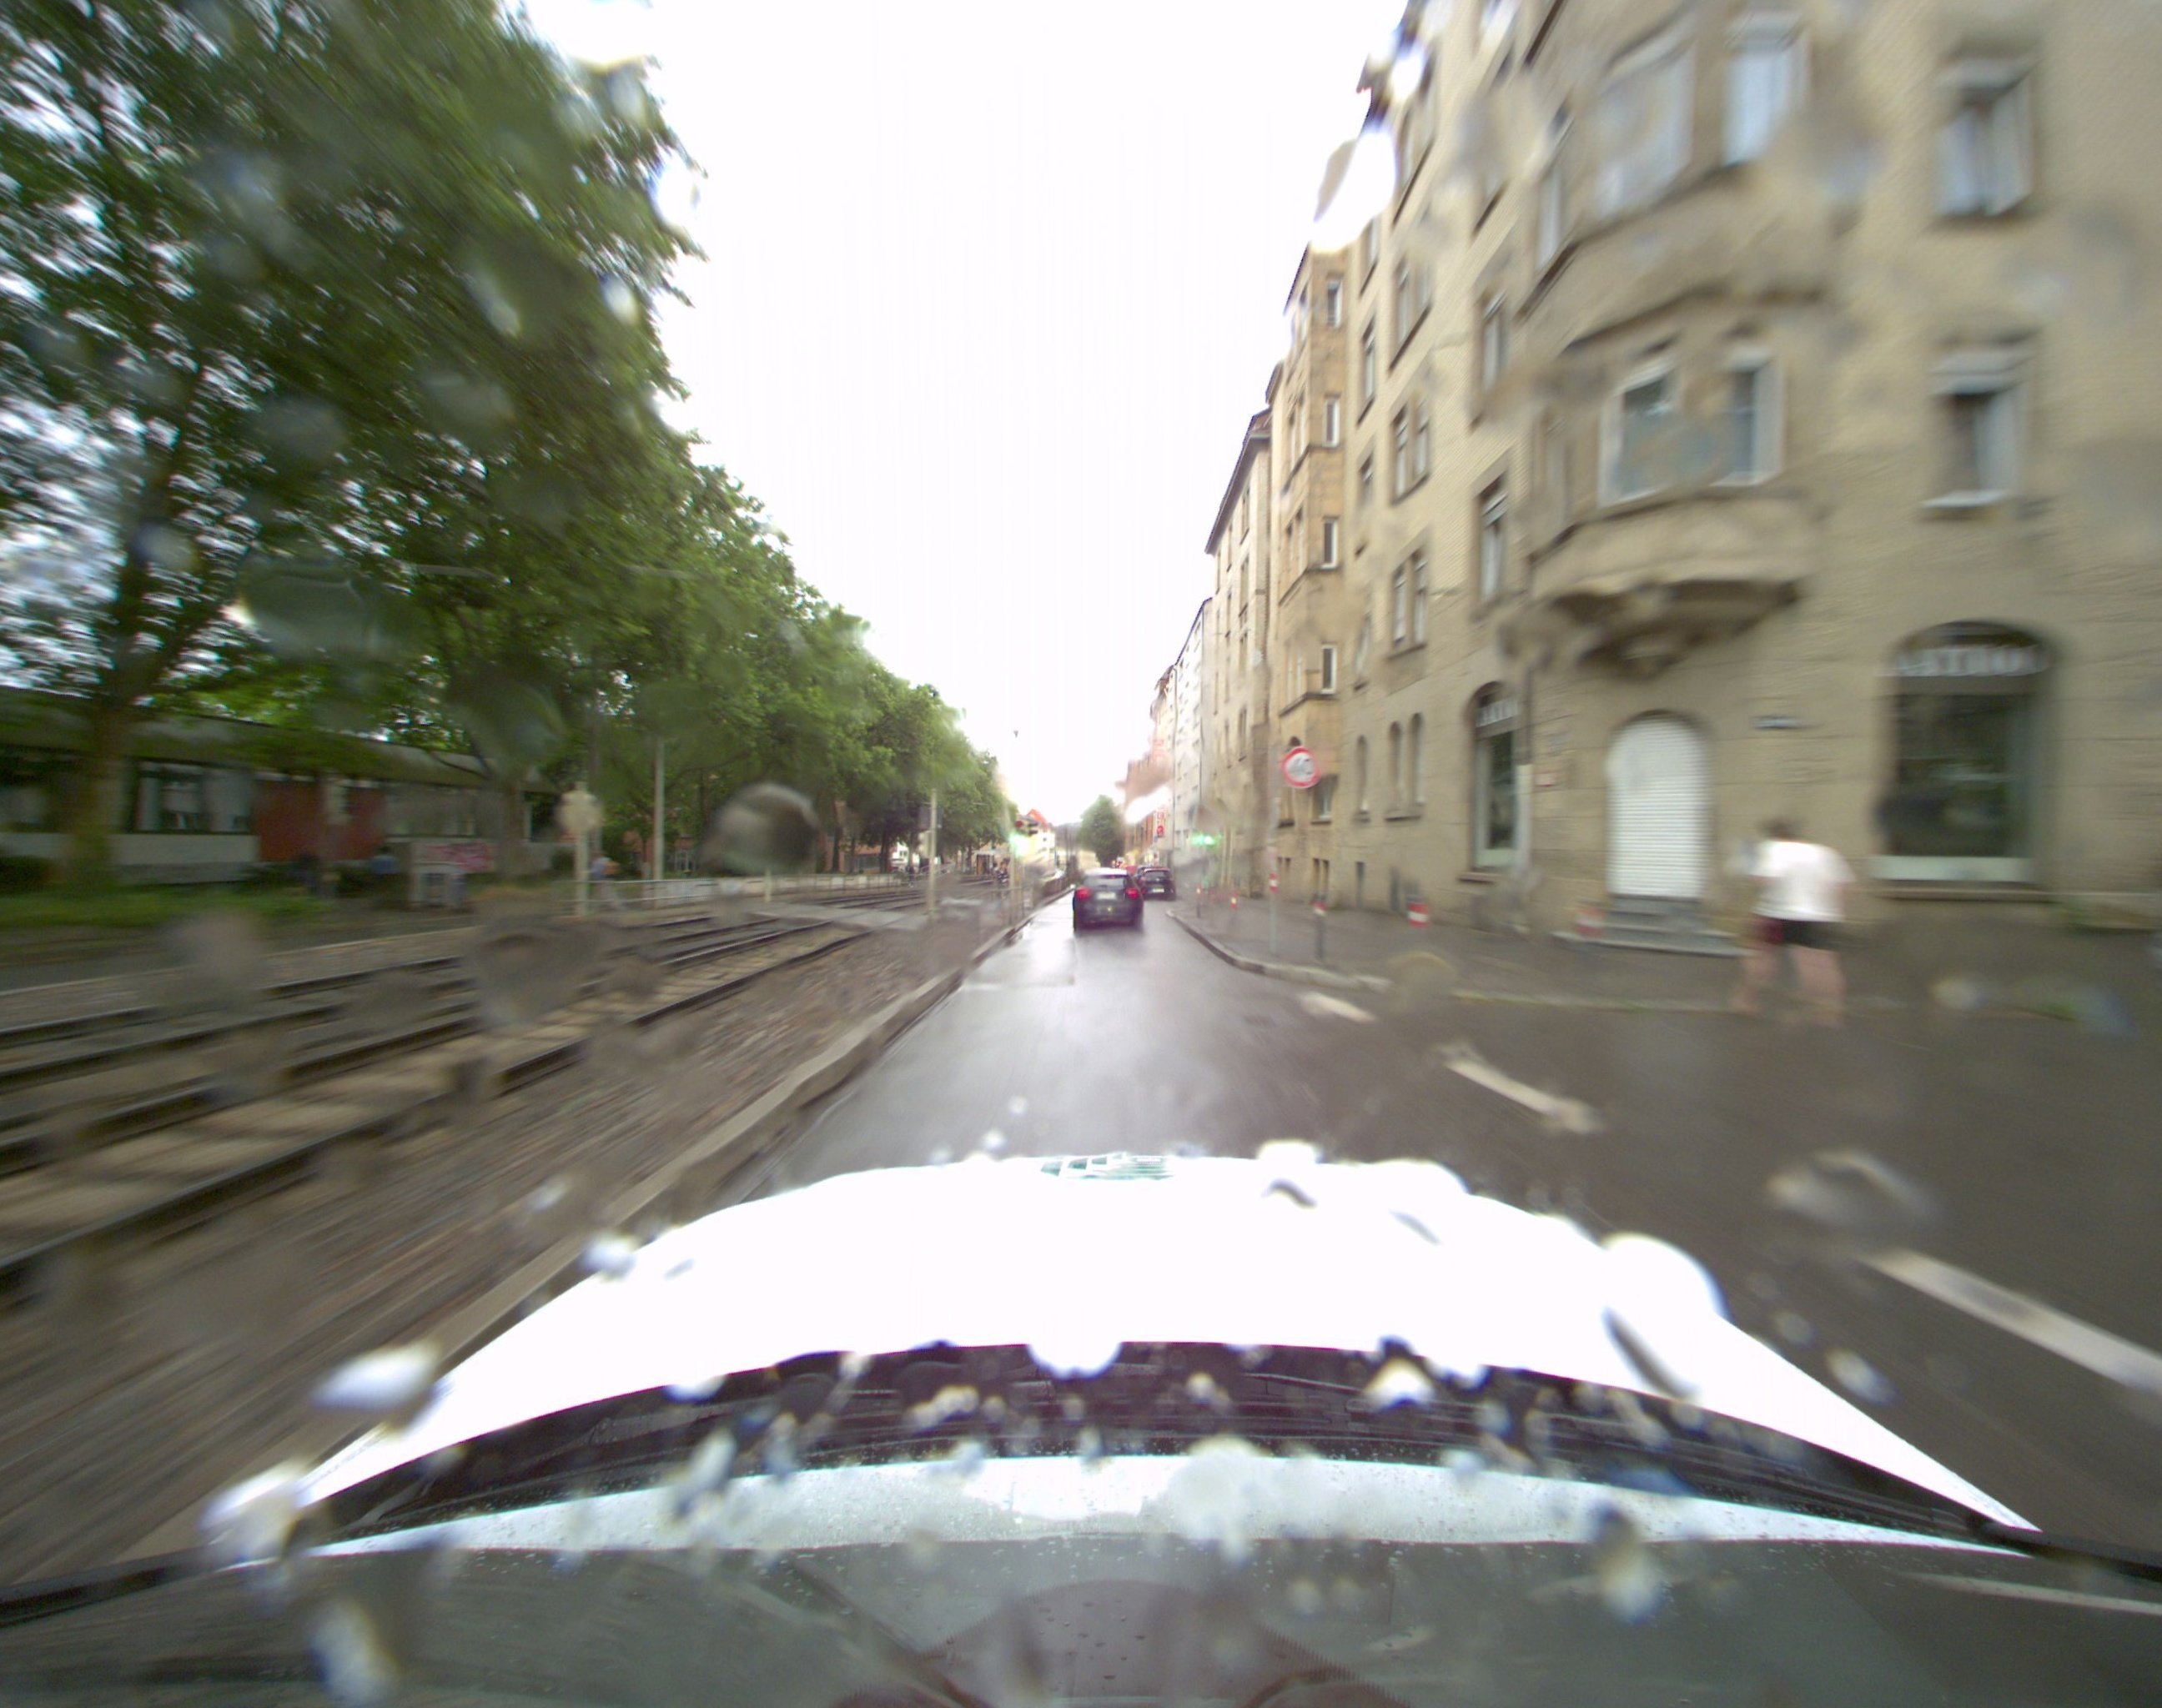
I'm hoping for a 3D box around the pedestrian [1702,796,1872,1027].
[{"bbox_3d":[5.837,0.457,6.786,0.691,1.787,0.759,-3,-1,6],"label":"pedestrian"}]

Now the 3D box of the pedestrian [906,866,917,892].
[{"bbox_3d":[-11.423,1.671,54.938,0.532,1.754,0.607,1,-1,1],"label":"pedestrian"}]

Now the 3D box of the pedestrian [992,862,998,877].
[{"bbox_3d":[-9.913,1.740,93.685,0.516,1.717,0.551,1,-1,1],"label":"pedestrian"}]

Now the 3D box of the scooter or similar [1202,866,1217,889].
[{"bbox_3d":[7.759,1.408,49.219,0.448,1.321,1.773,-2,0,-6],"label":"scooter or similar"}]

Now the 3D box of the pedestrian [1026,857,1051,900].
[{"bbox_3d":[-2.036,1.147,39.110,1.135,1.998,1.171,-2,0,-3],"label":"pedestrian"}]

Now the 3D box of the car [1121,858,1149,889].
[{"bbox_3d":[3.831,1.362,58.361,1.753,2.013,4.000,-2,0,1],"label":"car"}]

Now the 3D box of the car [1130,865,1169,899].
[{"bbox_3d":[3.562,1.420,42.895,1.753,1.579,4.000,-2,0,1],"label":"car"}]

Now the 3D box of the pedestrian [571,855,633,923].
[{"bbox_3d":[-12.374,0.882,21.078,1.050,1.719,0.904,0,-1,2],"label":"pedestrian"}]

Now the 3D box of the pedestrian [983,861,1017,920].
[{"bbox_3d":[-2.343,1.029,23.568,0.803,1.634,0.892,-2,0,1],"label":"pedestrian"}]

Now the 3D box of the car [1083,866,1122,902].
[{"bbox_3d":[1.020,1.389,39.265,1.779,1.581,4.000,-1,-1,1],"label":"car"}]

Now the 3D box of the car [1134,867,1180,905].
[{"bbox_3d":[3.563,1.467,38.629,1.820,1.618,3.865,-2,0,1],"label":"car"}]

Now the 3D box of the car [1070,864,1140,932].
[{"bbox_3d":[0.570,1.024,20.357,1.575,1.505,3.574,-1,-1,0],"label":"car"}]

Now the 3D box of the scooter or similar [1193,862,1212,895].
[{"bbox_3d":[5.148,1.029,34.648,0.447,1.321,1.776,-2,0,-2],"label":"scooter or similar"}]

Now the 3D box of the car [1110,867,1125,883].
[{"bbox_3d":[5.148,2.997,116.224,1.986,2.013,4.002,-2,0,2],"label":"car"}]

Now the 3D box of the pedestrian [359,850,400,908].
[{"bbox_3d":[-20.266,0.716,23.546,0.694,1.662,0.637,-1,-1,-19],"label":"pedestrian"}]

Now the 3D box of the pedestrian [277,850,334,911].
[{"bbox_3d":[-22.294,0.750,23.426,0.614,1.683,1.015,-2,0,2],"label":"pedestrian"}]

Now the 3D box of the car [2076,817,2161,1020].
[{"bbox_3d":[10.279,0.418,5.637,4.319,1.531,1.893,-2,-1,2],"label":"car"}]

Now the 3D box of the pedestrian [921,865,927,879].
[{"bbox_3d":[-18.751,2.139,97.299,0.517,1.596,0.600,-1,-1,1],"label":"pedestrian"}]

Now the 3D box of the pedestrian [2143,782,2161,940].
[{"bbox_3d":[11.815,0.065,8.516,0.545,1.688,0.627,-1,-1,5],"label":"pedestrian"}]
